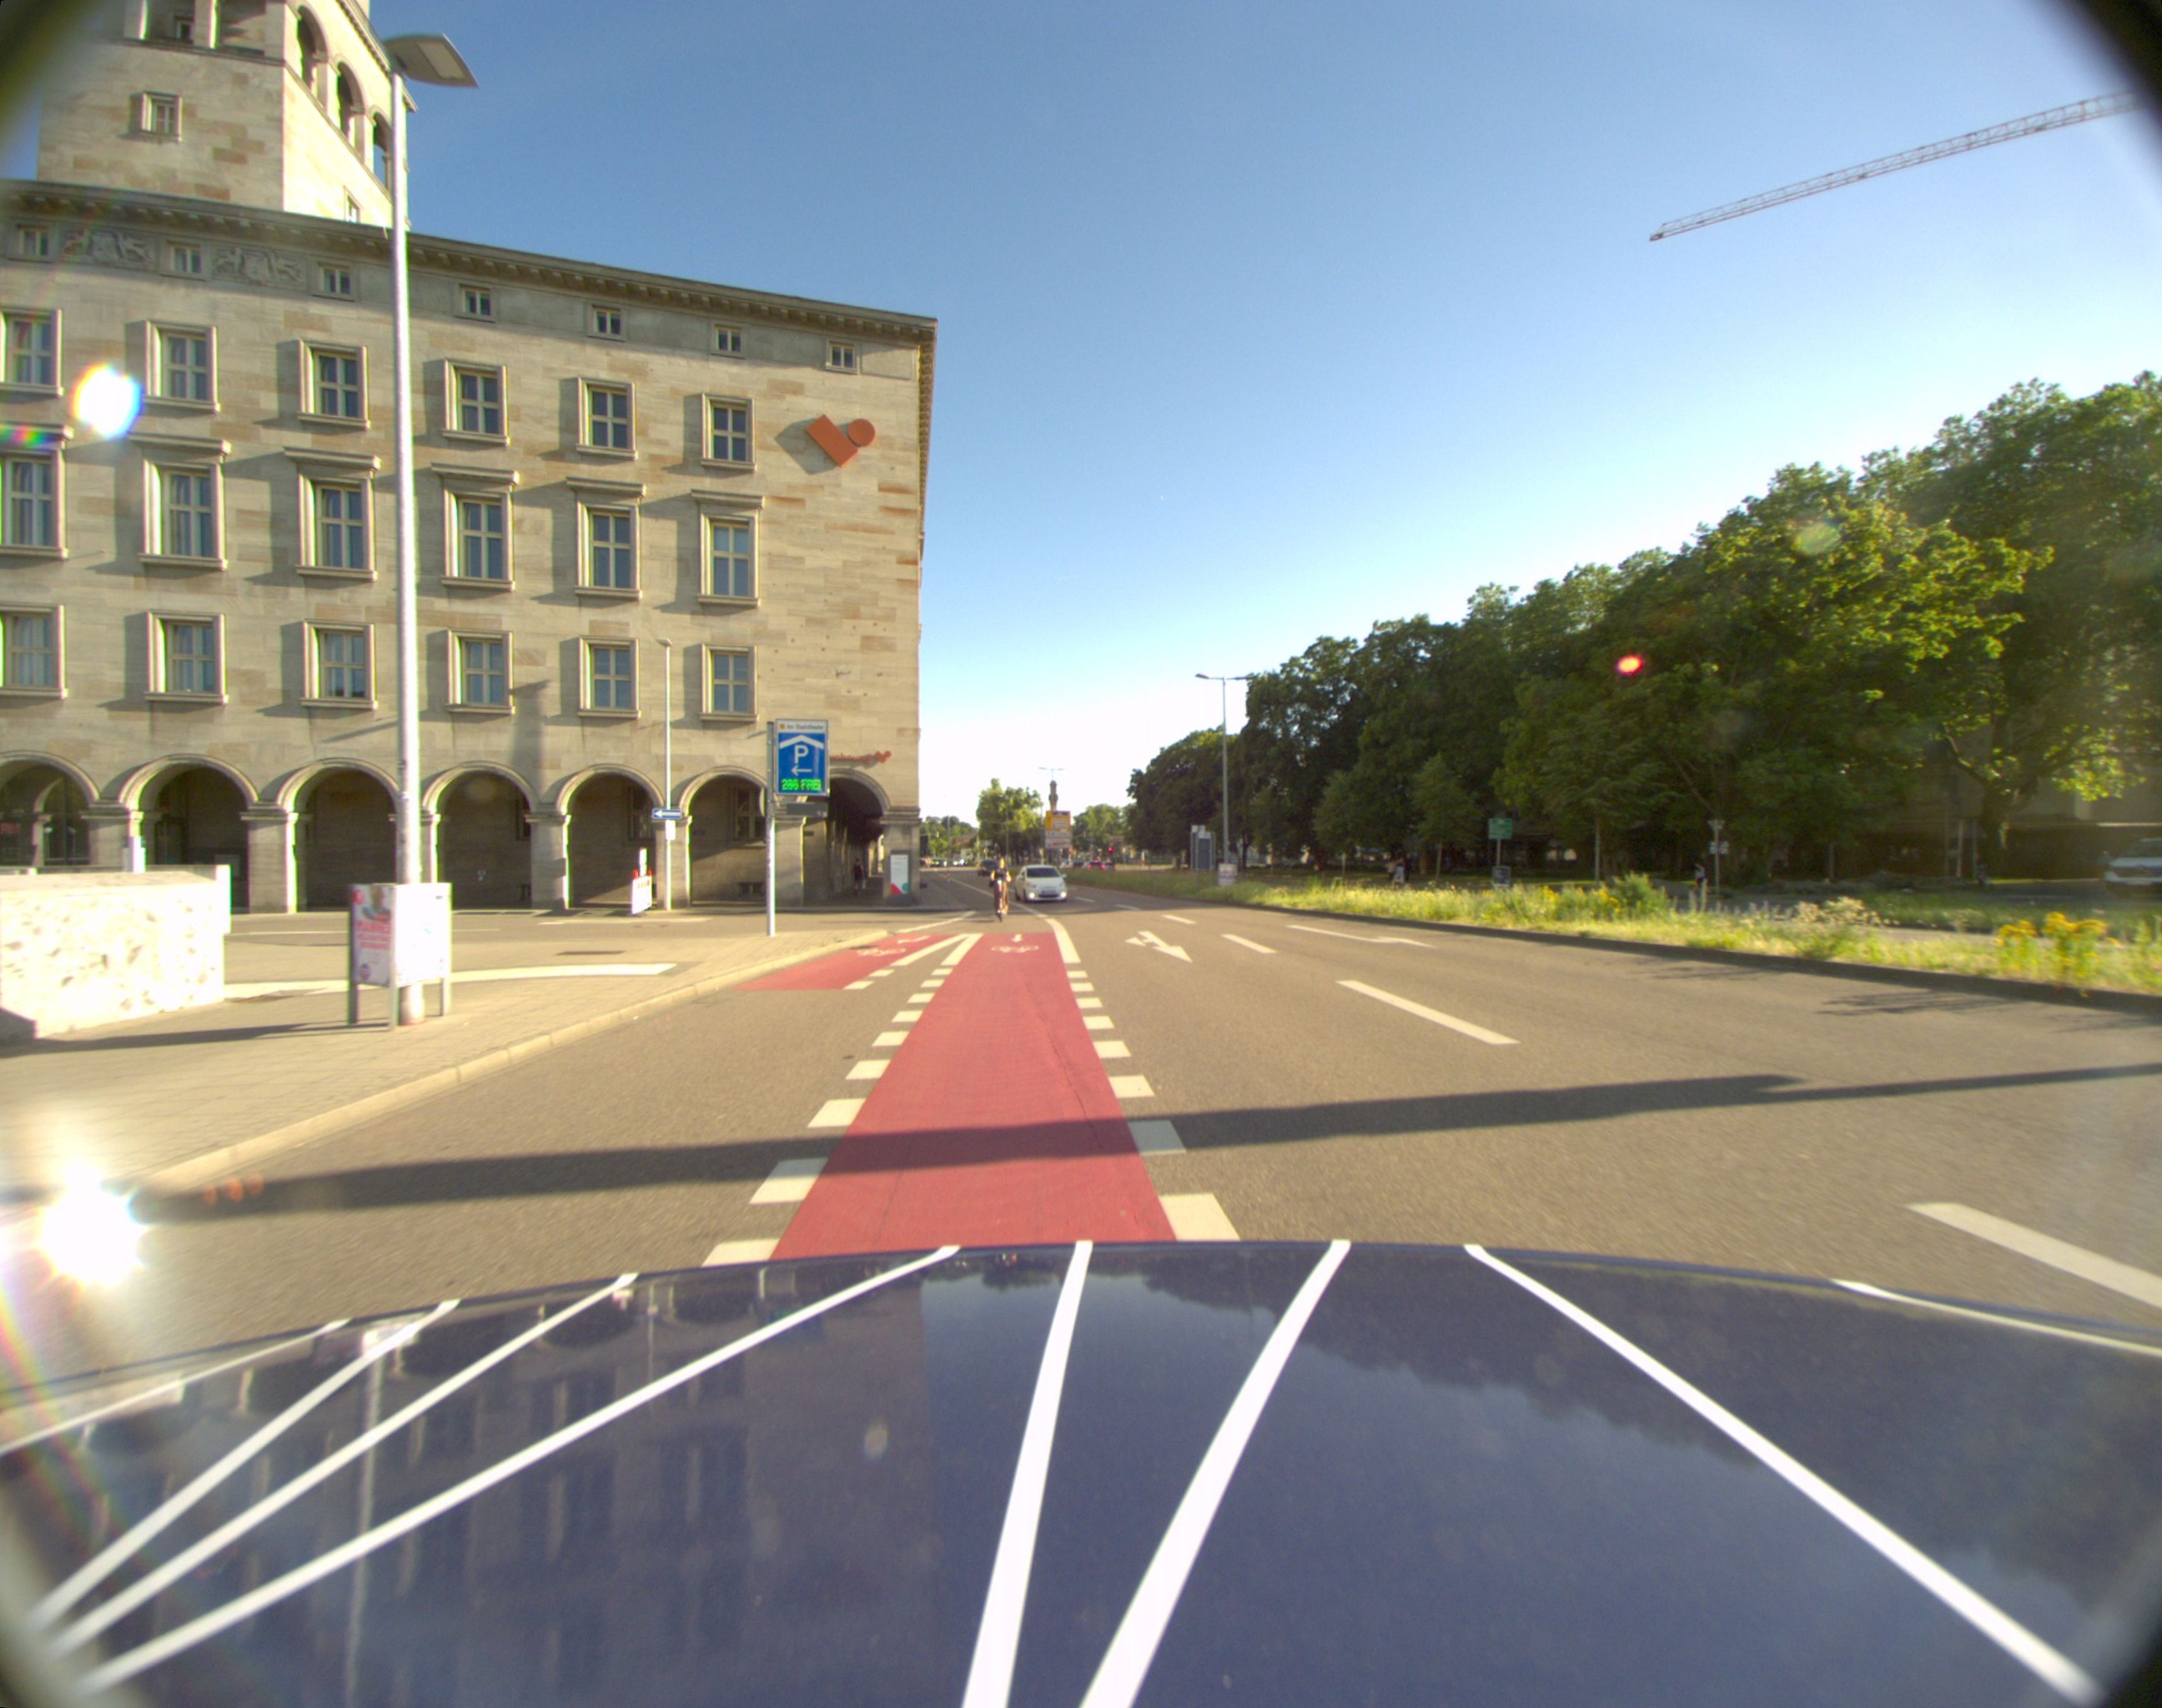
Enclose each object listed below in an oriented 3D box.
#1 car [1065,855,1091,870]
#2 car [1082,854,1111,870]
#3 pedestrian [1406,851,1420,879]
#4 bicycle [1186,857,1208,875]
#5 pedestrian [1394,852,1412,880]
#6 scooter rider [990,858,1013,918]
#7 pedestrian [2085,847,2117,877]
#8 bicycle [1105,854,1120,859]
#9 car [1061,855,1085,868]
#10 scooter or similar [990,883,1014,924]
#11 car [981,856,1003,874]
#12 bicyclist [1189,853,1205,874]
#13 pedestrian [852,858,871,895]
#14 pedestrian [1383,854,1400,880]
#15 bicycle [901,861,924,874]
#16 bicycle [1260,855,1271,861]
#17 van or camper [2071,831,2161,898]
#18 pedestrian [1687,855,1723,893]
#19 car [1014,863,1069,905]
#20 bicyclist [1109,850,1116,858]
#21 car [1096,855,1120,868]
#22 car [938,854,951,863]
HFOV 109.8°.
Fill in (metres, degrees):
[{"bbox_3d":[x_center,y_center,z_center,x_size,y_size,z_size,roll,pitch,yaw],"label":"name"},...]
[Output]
[{"bbox_3d":[-0.376,0.943,86.547,2.001,1.666,4.544,0,0,-13],"label":"car"},{"bbox_3d":[1.572,0.821,77.544,2.001,1.555,4.055,0,0,-13],"label":"car"},{"bbox_3d":[21.081,0.701,48.247,0.526,1.730,0.654,0,1,-9],"label":"pedestrian"},{"bbox_3d":[9.022,0.948,59.214,0.761,1.268,2.254,0,2,-18],"label":"bicycle"},{"bbox_3d":[20.366,0.749,48.105,0.774,1.730,0.760,0,1,-9],"label":"pedestrian"},{"bbox_3d":[-2.199,0.930,21.005,0.563,1.622,0.649,0,1,-11],"label":"scooter rider"},{"bbox_3d":[55.691,0.449,41.486,0.726,1.631,0.744,0,1,-7],"label":"pedestrian"},{"bbox_3d":[5.261,0.430,127.681,2.335,0.846,0.842,0,1,-8],"label":"bicycle"},{"bbox_3d":[-1.005,0.864,91.873,2.001,1.551,4.544,0,0,-13],"label":"car"},{"bbox_3d":[-2.175,1.347,20.889,0.557,1.025,1.116,0,1,-11],"label":"scooter or similar"},{"bbox_3d":[-8.668,1.080,73.798,1.735,1.629,3.995,-2,1,-12],"label":"car"},{"bbox_3d":[9.038,0.722,59.124,0.750,1.581,1.200,0,2,-18],"label":"bicyclist"},{"bbox_3d":[-9.377,0.934,32.493,0.779,1.560,0.951,0,0,-15],"label":"pedestrian"},{"bbox_3d":[19.595,0.803,47.984,0.745,1.631,0.725,0,1,-9],"label":"pedestrian"},{"bbox_3d":[-14.102,1.116,63.615,1.716,1.044,0.526,1,0,-27],"label":"bicycle"},{"bbox_3d":[28.019,0.671,115.467,0.771,0.884,1.603,0,0,-21],"label":"bicycle"},{"bbox_3d":[35.110,0.309,24.048,5.683,2.002,2.254,0,2,-11],"label":"van or camper"},{"bbox_3d":[24.984,0.786,30.433,0.614,1.518,0.942,0,0,-8],"label":"pedestrian"},{"bbox_3d":[-1.671,1.162,30.833,1.680,1.455,3.761,-2,1,-11],"label":"car"},{"bbox_3d":[5.302,0.066,127.686,0.973,1.354,0.826,0,1,-7],"label":"bicyclist"},{"bbox_3d":[3.287,0.856,93.373,1.940,1.517,4.582,0,0,-12],"label":"car"},{"bbox_3d":[-25.018,0.738,139.097,2.001,1.564,4.544,0,0,-13],"label":"car"}]
